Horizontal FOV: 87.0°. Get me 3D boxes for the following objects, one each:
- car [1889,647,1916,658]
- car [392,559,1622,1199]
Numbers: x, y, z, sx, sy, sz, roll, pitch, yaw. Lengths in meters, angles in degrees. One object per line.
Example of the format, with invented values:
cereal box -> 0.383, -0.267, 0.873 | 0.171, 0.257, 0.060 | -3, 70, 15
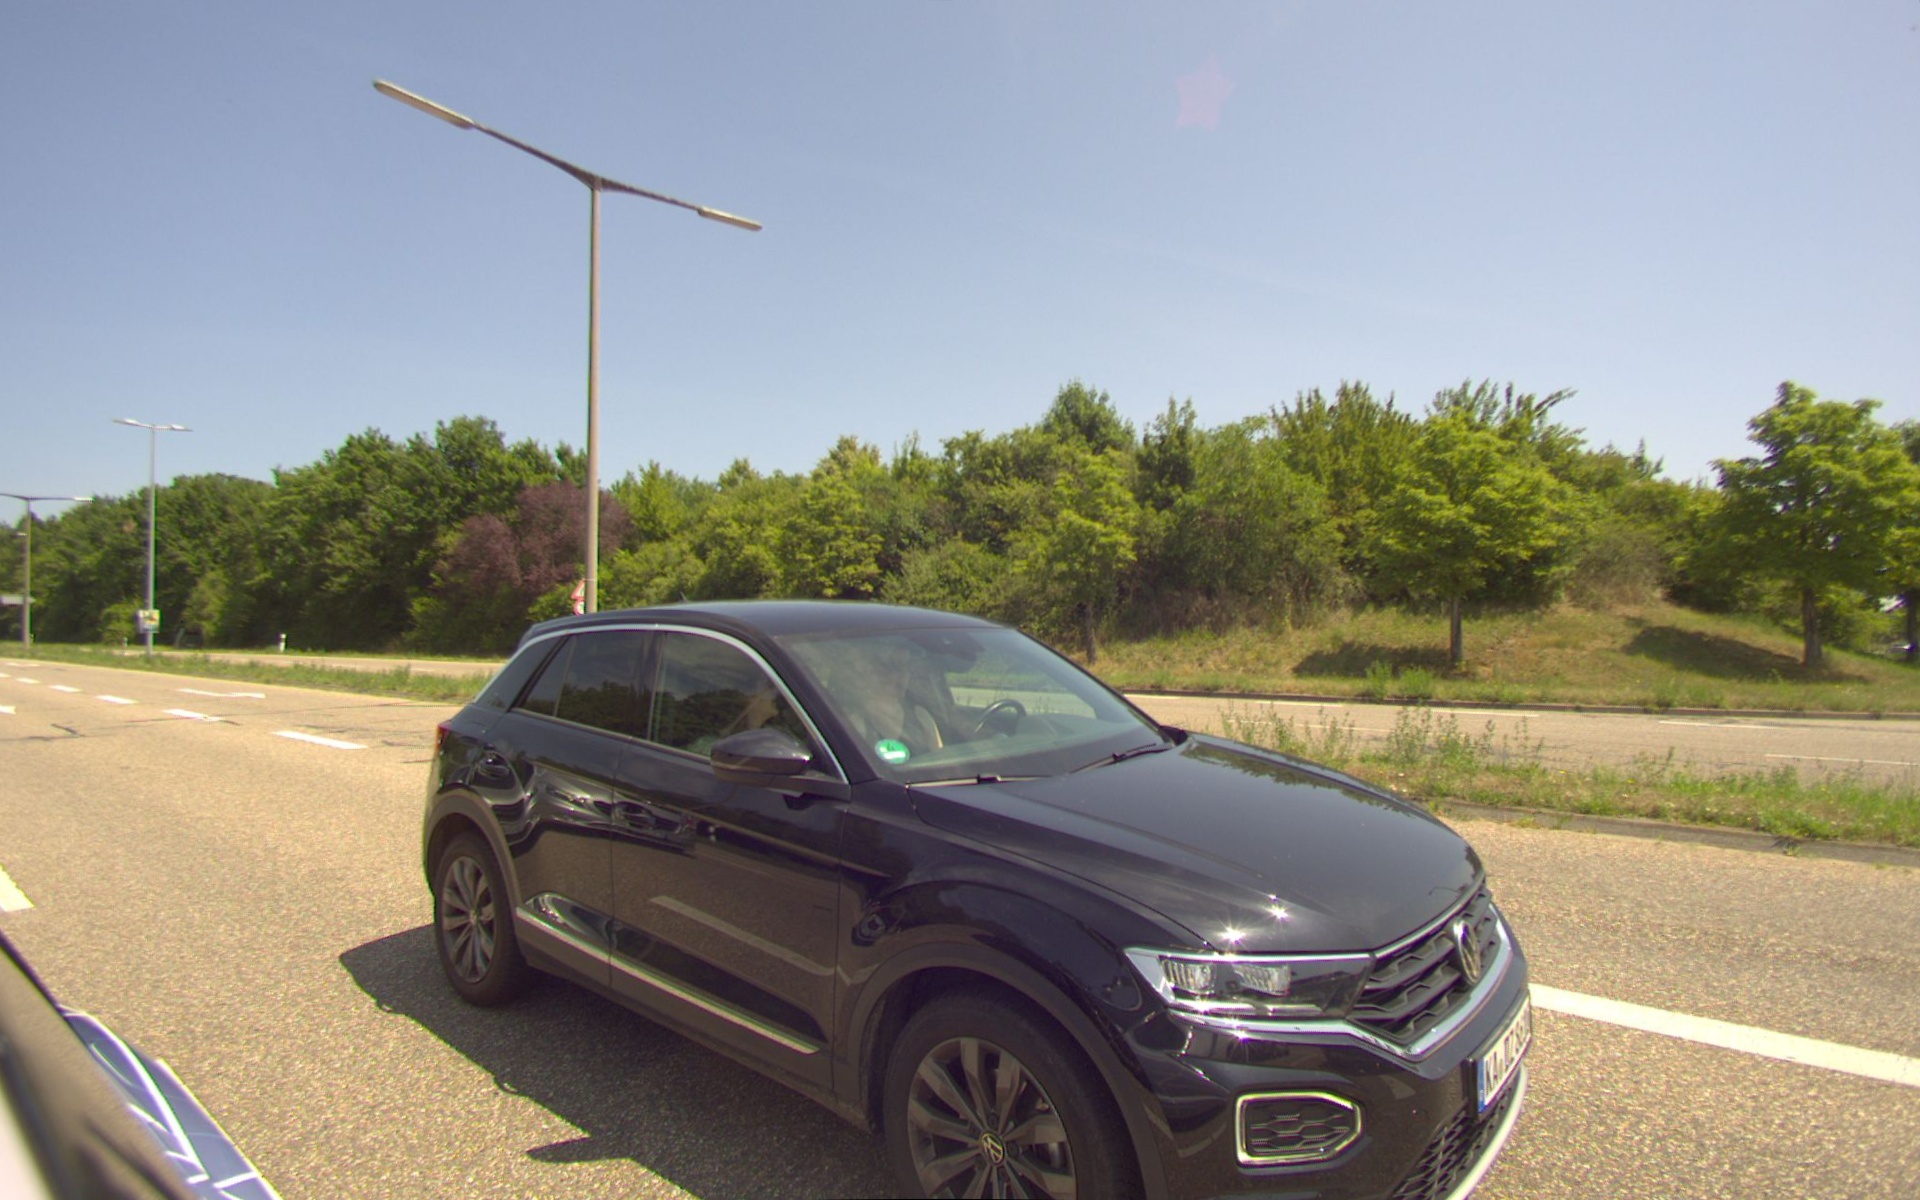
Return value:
car -> 120.393, 6.683, 129.252 | 1.697, 1.346, 3.957 | -1, -2, 31
car -> -0.244, 0.715, 3.431 | 3.969, 1.523, 1.716 | -1, 0, 41
